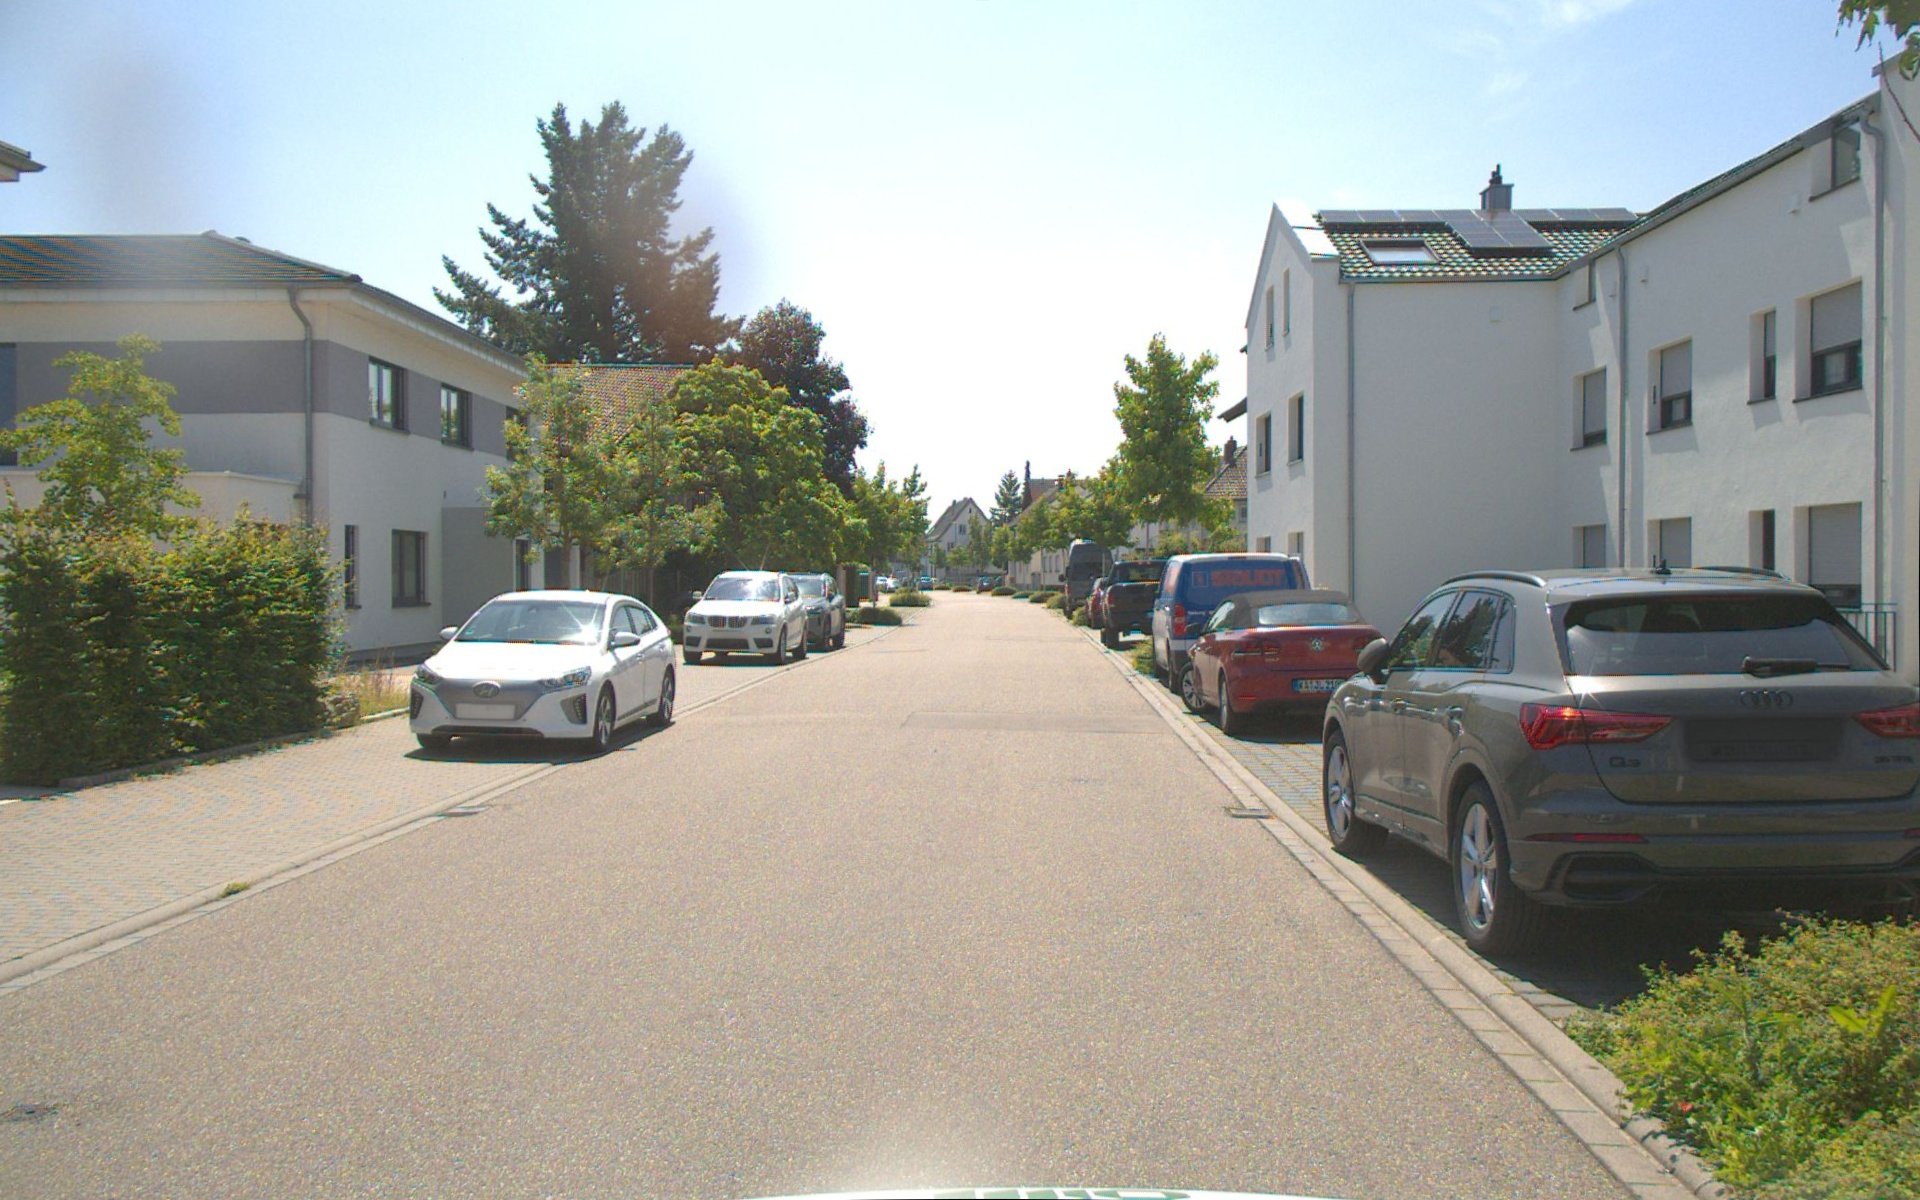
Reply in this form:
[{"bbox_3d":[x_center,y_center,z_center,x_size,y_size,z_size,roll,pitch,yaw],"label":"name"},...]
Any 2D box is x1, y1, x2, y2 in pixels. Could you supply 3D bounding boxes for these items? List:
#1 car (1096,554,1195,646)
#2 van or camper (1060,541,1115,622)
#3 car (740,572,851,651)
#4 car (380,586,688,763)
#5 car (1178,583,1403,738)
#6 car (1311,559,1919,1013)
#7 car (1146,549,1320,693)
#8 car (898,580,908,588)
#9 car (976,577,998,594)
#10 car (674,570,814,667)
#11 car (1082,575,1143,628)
[{"bbox_3d":[4.308,-0.025,39.096,1.952,1.981,5.216,-1,1,3],"label":"car"},{"bbox_3d":[4.884,-0.719,63.734,1.952,2.992,4.001,-1,1,2],"label":"van or camper"},{"bbox_3d":[-3.725,0.224,38.147,1.952,1.709,4.216,0,1,2],"label":"car"},{"bbox_3d":[-4.133,0.637,16.832,1.813,1.514,4.387,1,1,2],"label":"car"},{"bbox_3d":[3.467,0.564,18.028,1.645,1.467,4.027,-1,1,0],"label":"car"},{"bbox_3d":[3.040,0.640,8.100,1.737,1.623,4.279,-1,1,0],"label":"car"},{"bbox_3d":[3.936,0.257,24.640,2.055,1.914,4.845,0,1,3],"label":"car"},{"bbox_3d":[-7.918,-2.191,228.703,1.166,1.089,3.049,-1,1,-7],"label":"car"},{"bbox_3d":[2.596,-1.399,158.232,1.952,1.601,4.002,-1,1,2],"label":"car"},{"bbox_3d":[-4.054,0.301,31.759,1.887,1.716,4.500,0,1,3],"label":"car"},{"bbox_3d":[4.858,0.028,53.080,1.636,1.623,3.556,-1,0,0],"label":"car"}]
